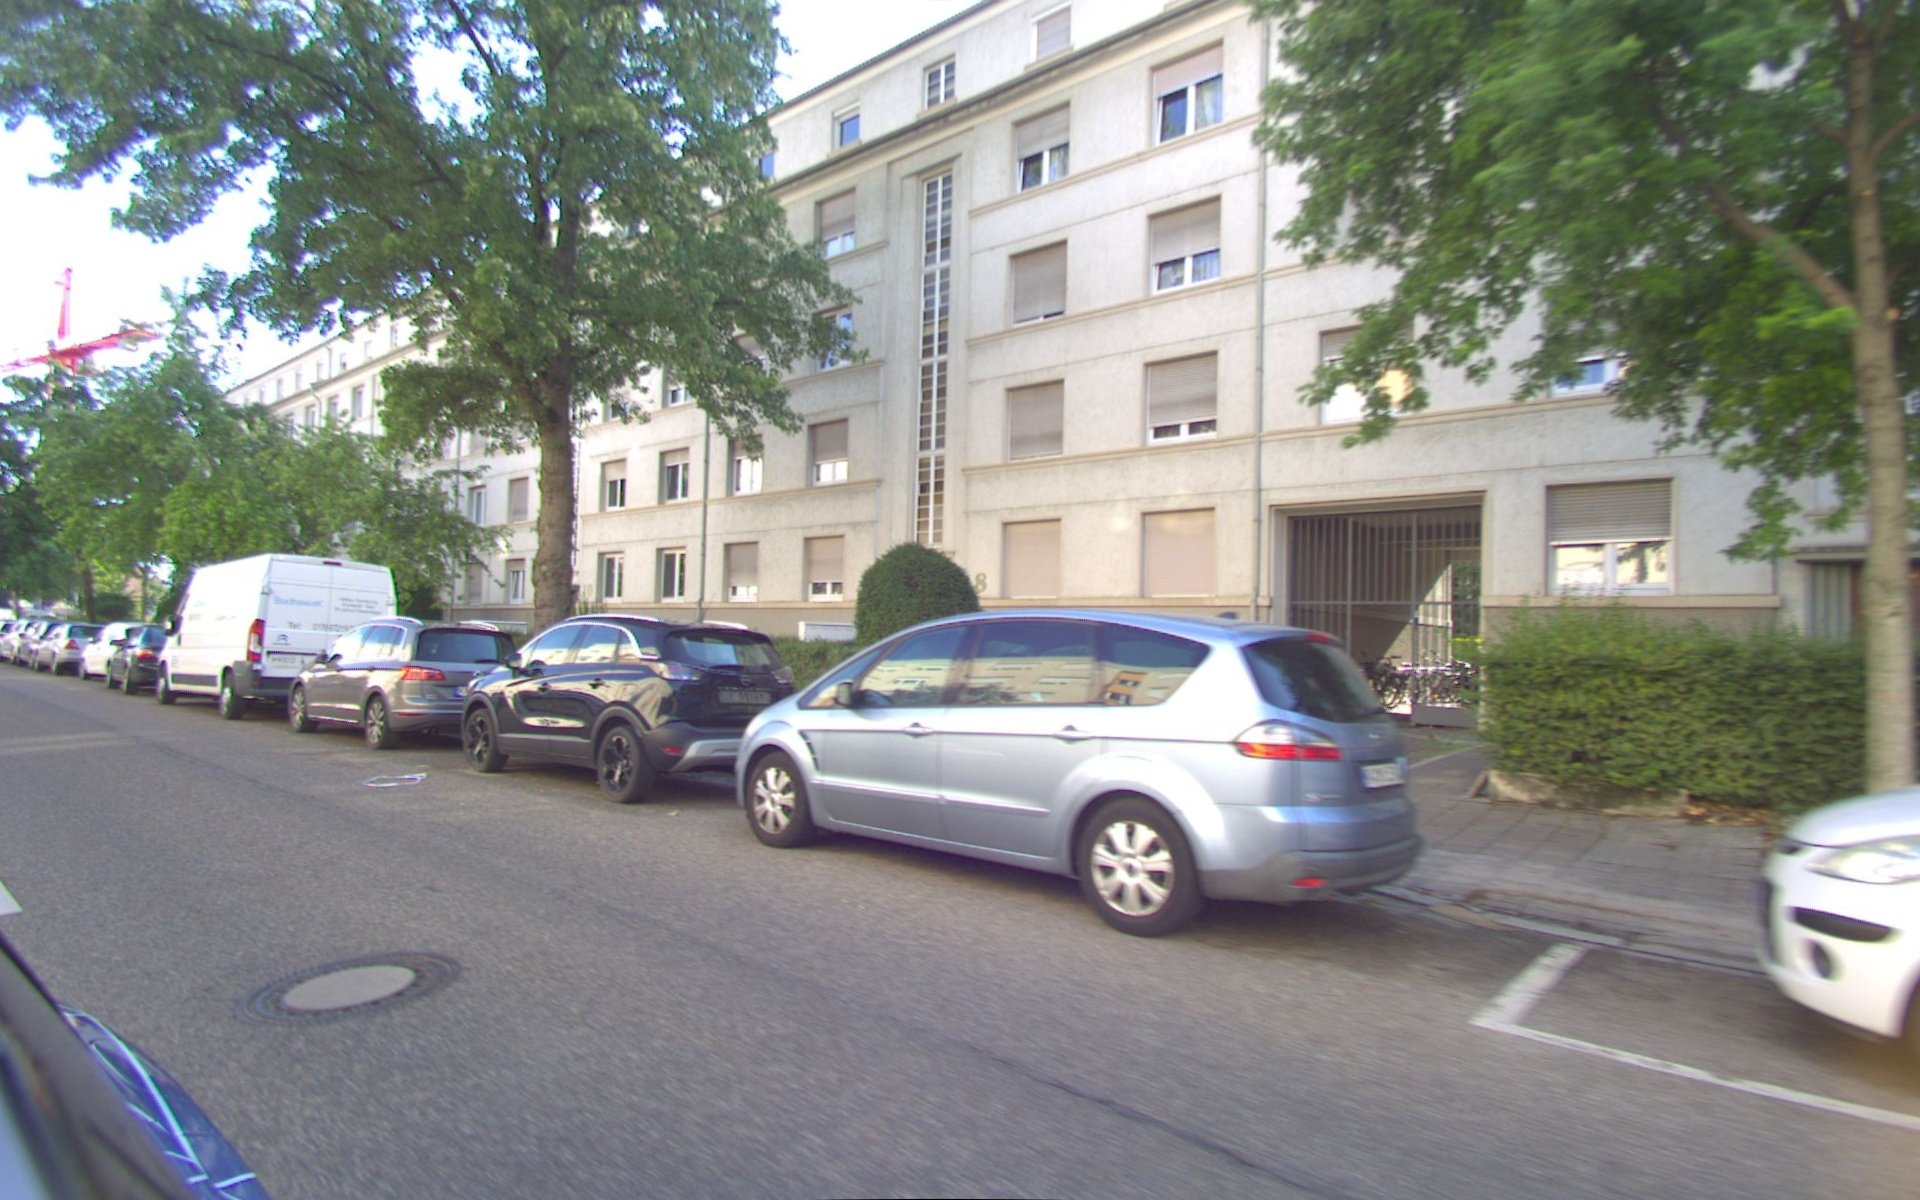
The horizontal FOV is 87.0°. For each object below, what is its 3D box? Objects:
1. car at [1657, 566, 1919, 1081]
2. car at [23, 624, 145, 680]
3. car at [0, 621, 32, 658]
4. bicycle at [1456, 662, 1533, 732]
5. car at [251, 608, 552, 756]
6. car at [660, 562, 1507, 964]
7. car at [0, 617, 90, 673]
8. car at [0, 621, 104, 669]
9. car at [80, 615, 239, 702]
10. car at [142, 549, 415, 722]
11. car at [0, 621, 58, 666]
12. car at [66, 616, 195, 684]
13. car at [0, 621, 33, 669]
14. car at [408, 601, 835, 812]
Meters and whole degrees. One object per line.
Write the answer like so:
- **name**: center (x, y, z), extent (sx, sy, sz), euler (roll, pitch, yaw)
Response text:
- **car**: center (4.587, 0.739, 2.901), extent (4.099, 1.570, 1.851), euler (0, -4, 41)
- **car**: center (-24.620, 1.398, 28.390), extent (4.649, 1.365, 1.855), euler (0, 0, 39)
- **car**: center (-40.818, 1.642, 42.617), extent (4.799, 1.445, 1.855), euler (0, -2, 39)
- **bicycle**: center (9.663, 1.719, 18.258), extent (2.200, 1.120, 0.497), euler (1, -1, -42)
- **car**: center (-7.307, 0.962, 13.064), extent (4.344, 1.570, 1.936), euler (0, -4, 41)
- **car**: center (0.409, 0.790, 6.340), extent (5.053, 1.570, 1.851), euler (-2, -8, 41)
- **car**: center (-31.492, 1.492, 34.594), extent (3.995, 1.563, 1.856), euler (0, 5, 39)
- **car**: center (-28.507, 1.365, 31.741), extent (3.996, 1.366, 1.855), euler (0, -1, 39)
- **car**: center (-16.875, 1.176, 21.286), extent (3.813, 1.586, 1.691), euler (1, -2, 37)
- **car**: center (-11.849, 0.547, 17.374), extent (6.162, 2.464, 2.333), euler (0, -2, 41)
- **car**: center (-35.670, 1.593, 38.049), extent (4.467, 1.564, 1.984), euler (0, -1, 39)
- **car**: center (-20.923, 1.255, 25.512), extent (3.254, 1.586, 1.692), euler (-2, -4, 35)
- **car**: center (-43.910, 2.003, 46.053), extent (3.998, 2.029, 1.972), euler (0, -5, 41)
- **car**: center (-3.407, 0.884, 9.755), extent (4.363, 1.570, 1.851), euler (0, -5, 41)
